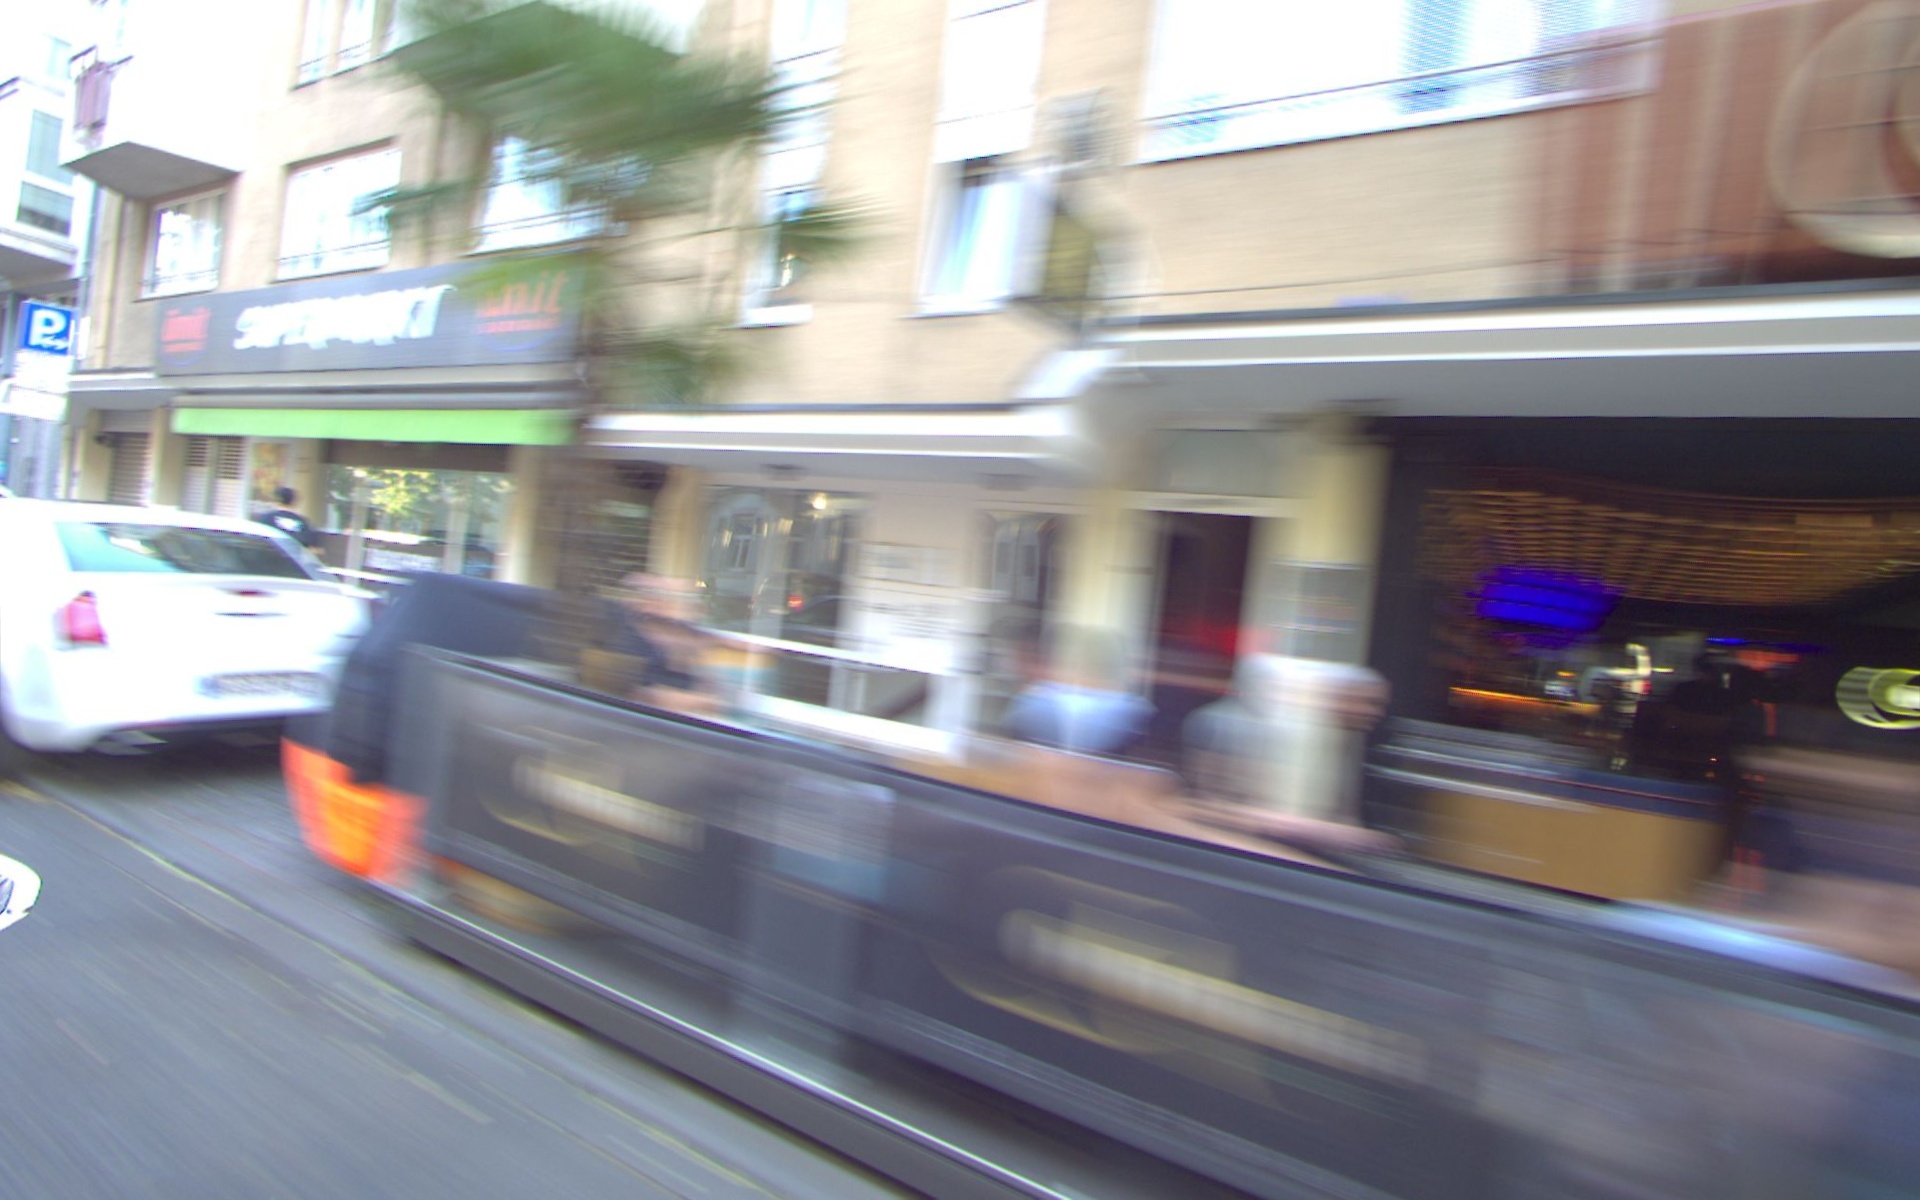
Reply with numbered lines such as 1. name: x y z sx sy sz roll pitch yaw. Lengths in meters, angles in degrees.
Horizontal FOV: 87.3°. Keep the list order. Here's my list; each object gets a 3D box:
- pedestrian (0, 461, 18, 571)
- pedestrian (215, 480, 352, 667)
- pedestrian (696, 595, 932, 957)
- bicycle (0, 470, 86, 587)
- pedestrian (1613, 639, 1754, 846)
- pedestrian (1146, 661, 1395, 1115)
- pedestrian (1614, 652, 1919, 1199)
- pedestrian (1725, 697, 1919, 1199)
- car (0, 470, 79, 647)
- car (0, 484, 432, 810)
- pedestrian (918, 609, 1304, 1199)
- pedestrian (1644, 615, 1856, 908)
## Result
1. pedestrian: -16.606 -1.475 16.839 0.979 1.817 0.857 7 1 28
2. pedestrian: -6.636 -0.247 9.879 0.689 1.726 0.788 7 1 31
3. pedestrian: -0.575 0.648 4.019 0.593 1.260 0.577 7 2 32
4. bicycle: -11.494 -0.909 12.195 2.017 1.279 0.775 7 2 33
5. pedestrian: 7.379 1.418 10.321 0.863 1.907 0.800 9 2 31
6. pedestrian: 1.129 0.955 3.636 0.593 1.403 0.577 7 2 32
7. pedestrian: 2.471 0.897 3.010 0.706 1.403 0.577 7 2 32
8. pedestrian: 1.880 0.929 1.864 0.593 1.403 0.577 7 2 32
9. car: -10.798 -0.612 9.937 4.614 1.595 1.880 7 2 32
10. car: -5.990 0.026 6.848 5.103 1.500 1.842 7 2 32
11. pedestrian: 0.400 0.734 2.619 0.692 1.336 0.577 7 2 32
12. pedestrian: 5.764 1.132 7.420 0.862 1.907 0.800 8 2 28
